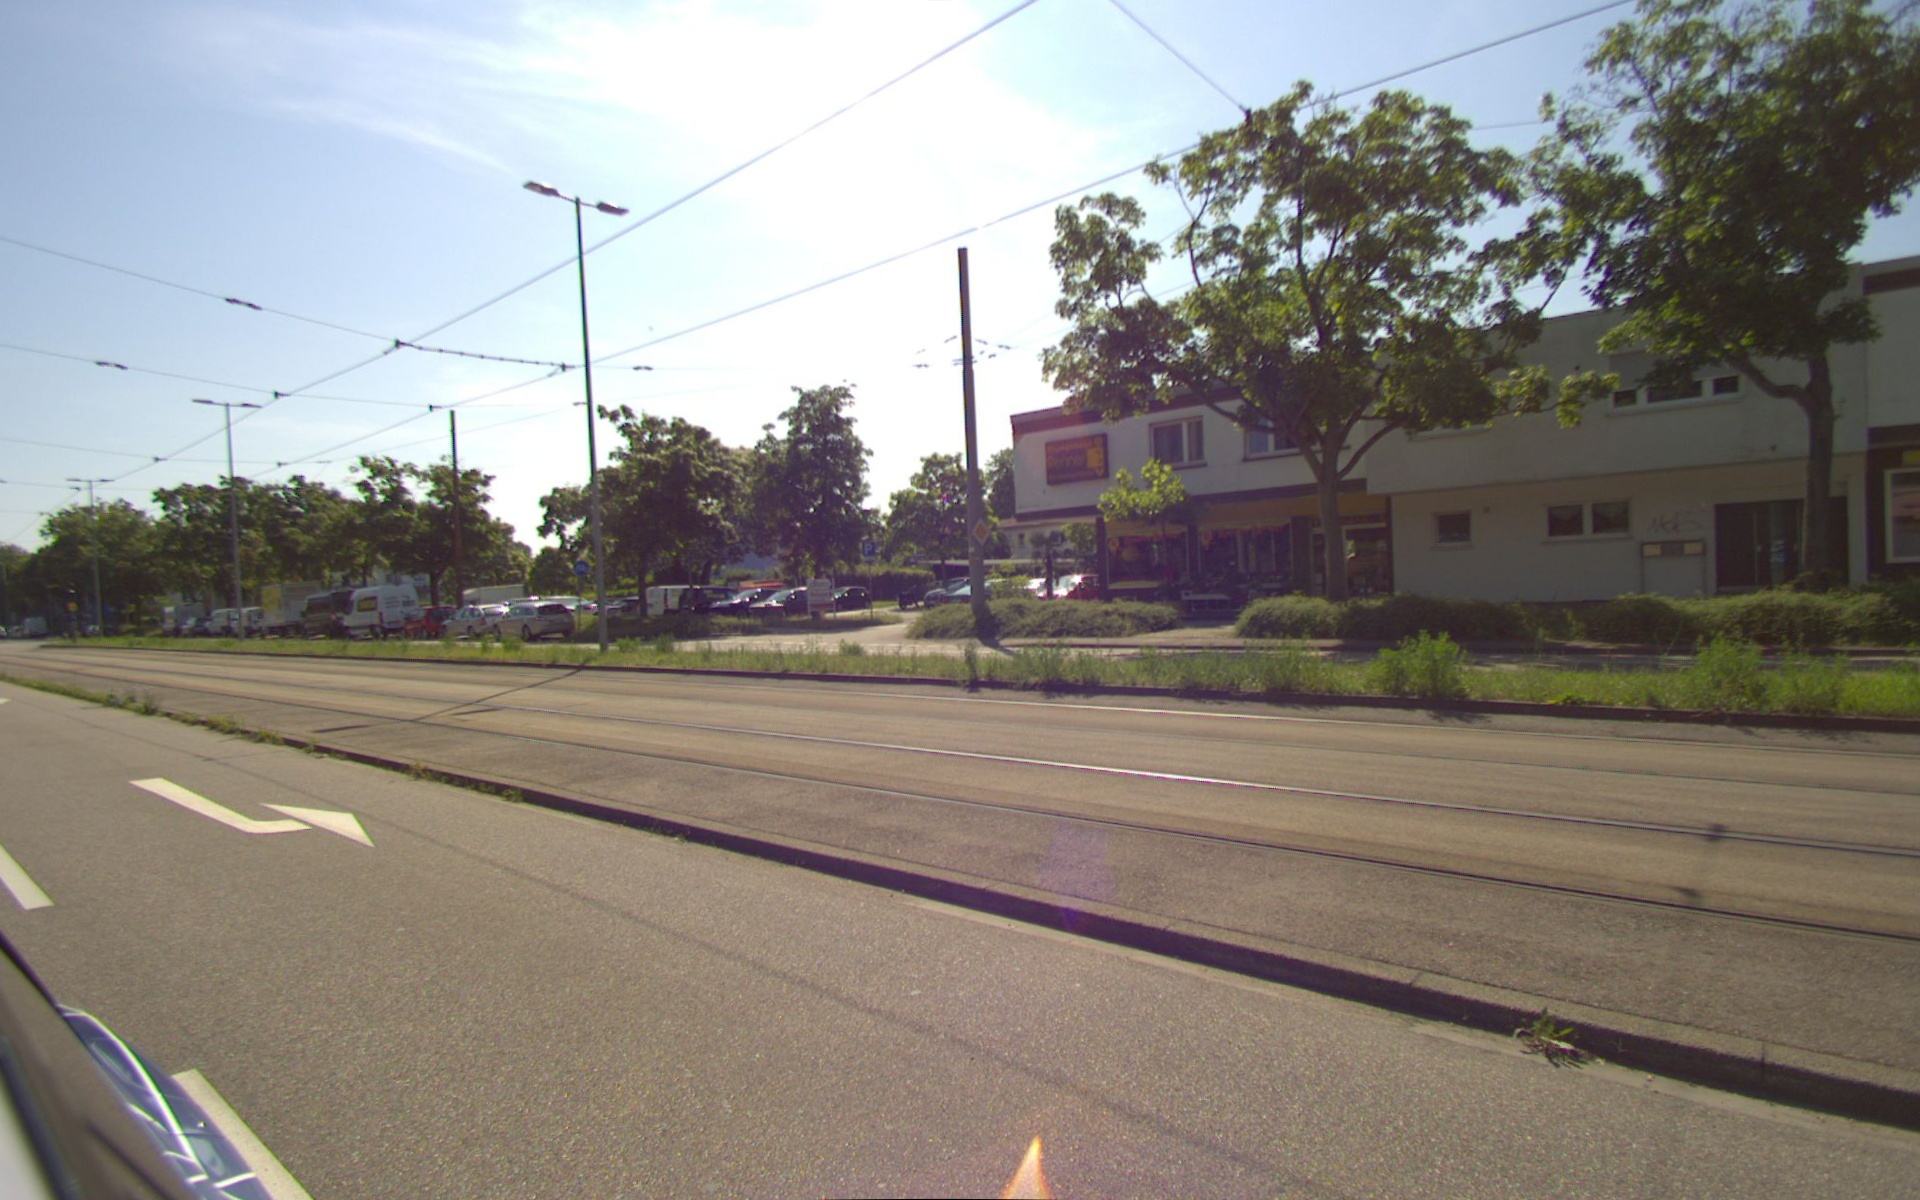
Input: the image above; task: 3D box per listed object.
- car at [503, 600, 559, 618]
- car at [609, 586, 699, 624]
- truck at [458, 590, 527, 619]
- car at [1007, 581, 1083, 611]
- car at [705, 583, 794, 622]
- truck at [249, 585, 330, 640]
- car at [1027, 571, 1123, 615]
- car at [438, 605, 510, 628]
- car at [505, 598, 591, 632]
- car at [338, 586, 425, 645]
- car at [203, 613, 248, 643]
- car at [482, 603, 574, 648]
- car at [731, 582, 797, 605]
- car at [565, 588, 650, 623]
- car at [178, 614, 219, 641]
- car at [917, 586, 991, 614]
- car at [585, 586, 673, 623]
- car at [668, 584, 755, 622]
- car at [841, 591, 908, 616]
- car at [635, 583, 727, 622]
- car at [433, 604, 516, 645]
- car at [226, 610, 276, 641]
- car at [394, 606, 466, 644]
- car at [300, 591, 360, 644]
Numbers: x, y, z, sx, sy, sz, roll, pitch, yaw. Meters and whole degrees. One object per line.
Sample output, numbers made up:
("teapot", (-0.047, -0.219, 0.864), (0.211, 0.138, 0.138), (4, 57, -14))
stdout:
("car", (-37.664, 0.810, 88.856), (1.676, 1.345, 4.198), (-2, 1, 42))
("car", (-15.920, 0.224, 52.796), (1.988, 1.751, 4.068), (-2, 1, 38))
("truck", (-44.432, 0.410, 96.319), (1.988, 2.398, 5.584), (-2, 1, 38))
("car", (4.468, -0.205, 52.476), (1.676, 1.345, 4.197), (-2, 1, 43))
("car", (-9.868, 0.089, 47.535), (1.676, 1.646, 3.761), (-2, 1, 43))
("truck", (-40.250, 0.793, 60.715), (5.902, 2.955, 2.476), (-2, 4, 43))
("car", (4.704, -0.305, 41.084), (1.676, 1.616, 4.197), (-2, 1, 43))
("car", (-33.865, 1.148, 70.639), (1.676, 1.345, 4.198), (-2, 1, 42))
("car", (-25.137, 0.925, 61.587), (5.739, 1.824, 2.560), (-2, 1, 42))
("car", (-28.986, 0.807, 50.633), (5.201, 2.672, 2.036), (-2, 4, 42))
("car", (-51.424, 1.965, 70.856), (4.056, 1.859, 1.484), (-2, 4, 41))
("car", (-17.311, 1.018, 40.473), (4.255, 1.544, 1.654), (-2, 4, 42))
("car", (-13.092, -0.426, 67.818), (1.675, 1.345, 4.201), (-2, 1, 39))
("car", (-19.888, 0.281, 57.145), (1.988, 1.751, 4.068), (-2, 1, 38))
("car", (-56.180, 2.028, 74.664), (3.685, 1.799, 1.484), (-2, 4, 40))
("car", (-0.300, 0.000, 55.895), (1.676, 1.345, 4.197), (-2, 1, 43))
("car", (-17.781, 0.227, 54.479), (1.988, 1.751, 4.068), (-2, 1, 38))
("car", (-12.142, 0.134, 49.594), (1.676, 1.646, 3.761), (-2, 1, 43))
("car", (-5.388, 0.203, 64.382), (1.676, 1.345, 4.197), (-2, 1, 43))
("car", (-14.114, 0.101, 51.384), (1.988, 1.751, 4.068), (-2, 1, 38))
("car", (-21.216, 1.088, 44.161), (4.255, 1.544, 1.654), (-2, 4, 42))
("car", (-46.509, 1.666, 66.339), (4.631, 1.817, 1.483), (-2, 4, 42))
("car", (-24.727, 1.182, 47.165), (3.791, 1.544, 1.654), (-2, 4, 42))
("car", (-33.897, 0.949, 54.403), (4.005, 2.643, 1.483), (-2, 4, 42))
